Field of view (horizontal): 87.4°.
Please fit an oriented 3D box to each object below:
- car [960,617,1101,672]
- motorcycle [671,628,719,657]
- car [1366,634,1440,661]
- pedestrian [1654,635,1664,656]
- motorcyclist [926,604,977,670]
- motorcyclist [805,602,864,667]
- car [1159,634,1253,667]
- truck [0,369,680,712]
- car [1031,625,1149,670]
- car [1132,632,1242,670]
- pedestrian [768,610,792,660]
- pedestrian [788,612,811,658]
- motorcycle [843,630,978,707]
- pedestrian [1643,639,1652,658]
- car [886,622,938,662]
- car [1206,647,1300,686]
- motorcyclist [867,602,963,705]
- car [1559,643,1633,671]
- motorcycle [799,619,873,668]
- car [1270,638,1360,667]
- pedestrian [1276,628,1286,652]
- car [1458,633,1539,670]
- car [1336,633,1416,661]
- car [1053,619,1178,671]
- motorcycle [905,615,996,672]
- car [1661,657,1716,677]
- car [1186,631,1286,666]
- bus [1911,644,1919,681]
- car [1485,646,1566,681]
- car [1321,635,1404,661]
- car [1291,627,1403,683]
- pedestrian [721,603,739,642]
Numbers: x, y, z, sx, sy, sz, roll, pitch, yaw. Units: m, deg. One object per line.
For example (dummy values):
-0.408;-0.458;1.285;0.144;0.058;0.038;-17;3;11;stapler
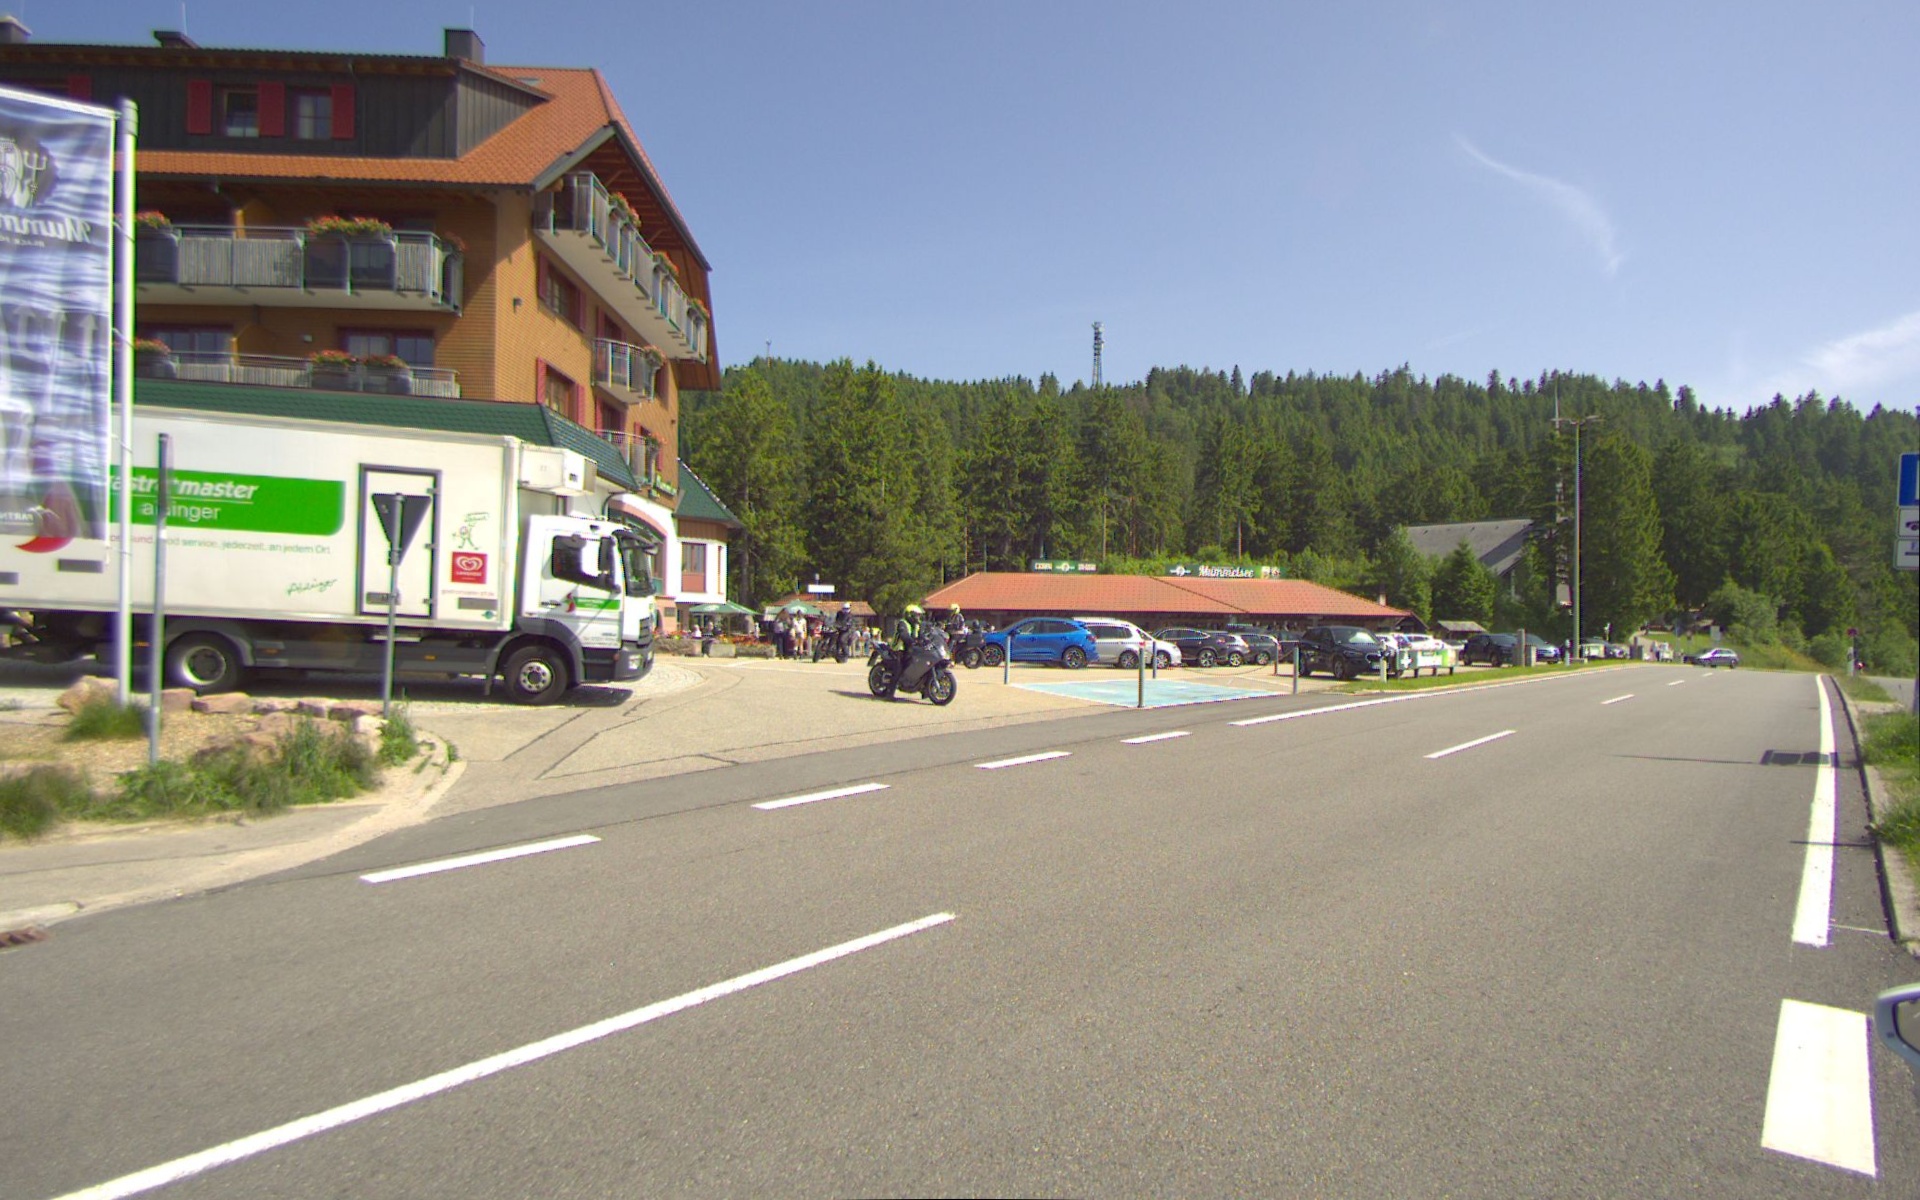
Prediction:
2.283;1.455;33.459;4.458;1.686;1.939;1;-1;-4;car
-10.466;1.681;39.730;1.759;0.999;0.479;4;4;-12;motorcycle
28.226;3.034;64.069;3.954;1.694;1.776;0;-3;-5;car
61.298;3.995;88.082;0.644;1.823;0.641;1;0;35;pedestrian
-0.244;1.040;28.350;1.225;1.742;1.063;4;-1;-8;motorcyclist
-3.497;0.955;28.090;0.909;1.740;1.450;3;0;28;motorcyclist
10.468;2.140;42.800;3.570;1.339;1.586;0;-1;-6;car
-8.802;-0.704;14.707;8.616;4.025;3.064;3;1;-11;truck
4.572;1.681;35.857;3.922;1.566;2.000;0;-1;-2;car
9.071;2.030;40.330;3.923;1.449;1.913;0;-1;-4;car
-6.037;1.172;33.650;0.613;1.654;0.703;0;-1;5;pedestrian
-5.405;1.178;33.844;0.613;1.509;0.703;0;-1;5;pedestrian
-0.879;1.151;17.367;2.246;1.192;0.823;1;-1;32;motorcycle
60.514;4.286;88.459;0.644;1.688;0.641;0;-4;35;pedestrian
-1.617;1.416;34.781;1.680;1.314;4.000;0;-1;-2;car
13.761;3.120;47.336;3.920;1.726;1.827;0;-1;2;car
-0.771;0.896;17.345;1.270;1.697;1.027;1;-1;32;motorcyclist
41.538;3.687;65.696;1.757;1.655;4.205;3;-2;-9;car
-3.455;1.208;28.156;0.863;1.273;2.274;3;0;28;motorcycle
17.715;2.612;50.315;3.919;1.389;1.813;0;-1;4;car
25.167;3.132;78.654;0.518;1.898;0.547;2;-1;-5;pedestrian
24.563;2.313;45.963;1.747;1.572;4.002;0;-1;3;car
24.530;2.775;59.323;3.923;1.594;1.999;0;-2;-3;car
5.811;1.687;37.891;4.441;1.888;1.835;0;-1;-1;car
-0.284;1.220;28.359;2.400;1.425;1.005;4;-1;-8;motorcycle
57.749;5.299;79.679;3.308;1.447;1.584;0;-1;-6;car
12.370;2.164;45.187;4.001;1.505;1.715;0;-1;-4;car
100.629;6.379;96.789;2.948;3.626;12.792;1;0;-31;bus
28.667;3.176;51.063;1.706;1.588;4.059;2;-1;-2;car
22.782;2.713;56.901;3.923;1.439;1.907;0;-2;-3;car
11.649;1.606;30.561;1.772;1.560;4.193;0;-1;0;car
-13.927;1.381;60.861;0.807;2.314;0.725;-2;0;-32;pedestrian
